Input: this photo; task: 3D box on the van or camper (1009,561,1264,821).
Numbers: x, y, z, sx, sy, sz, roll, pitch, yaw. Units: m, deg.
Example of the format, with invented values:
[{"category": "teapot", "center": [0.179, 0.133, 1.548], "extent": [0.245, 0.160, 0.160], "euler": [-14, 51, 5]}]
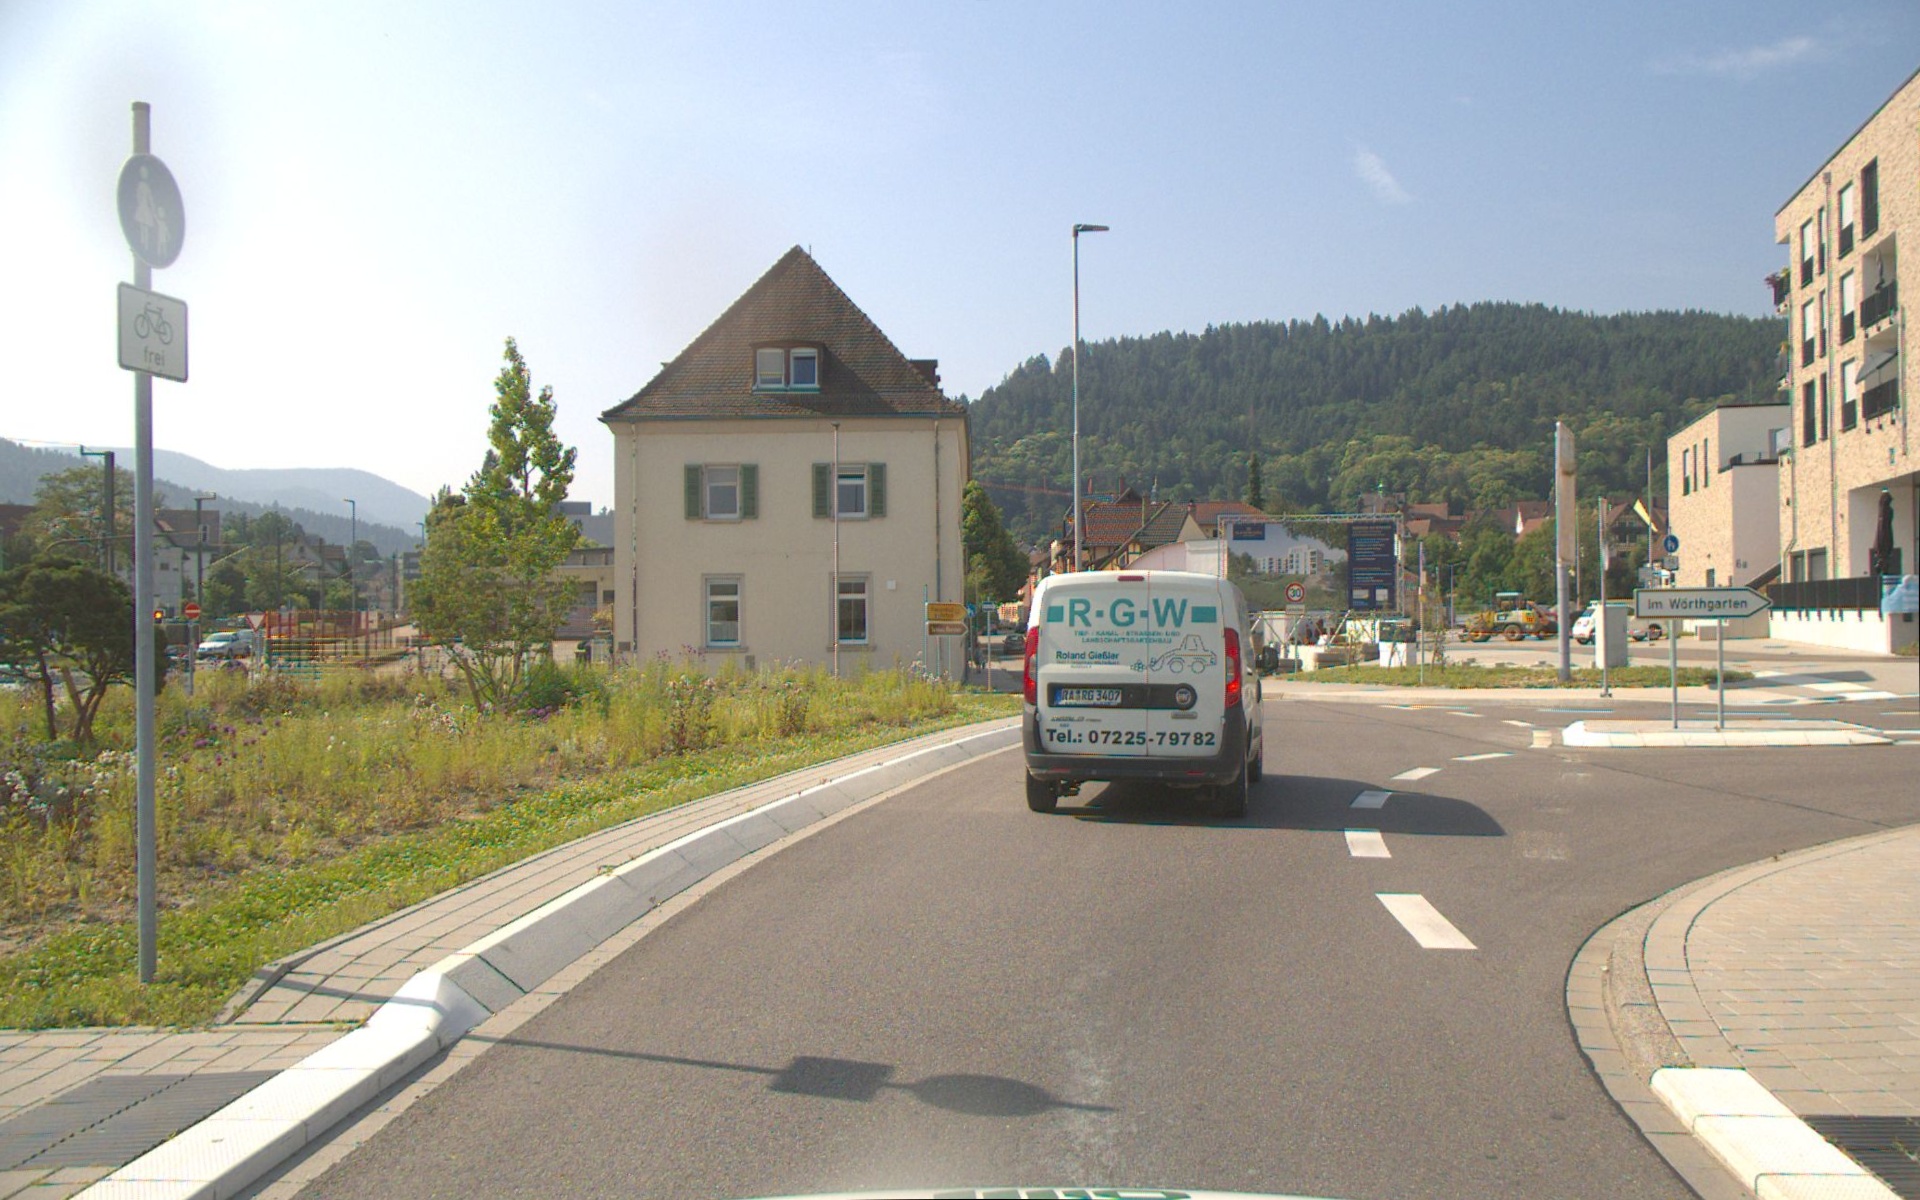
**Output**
[{"category": "van or camper", "center": [1.656, 0.708, 14.182], "extent": [1.789, 1.877, 4.191], "euler": [-1, -1, 11]}]

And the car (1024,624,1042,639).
[{"category": "car", "center": [7.864, 3.395, 178.035], "extent": [1.636, 1.534, 3.998], "euler": [-1, -1, -2]}]

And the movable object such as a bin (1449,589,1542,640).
[{"category": "movable object such as a bin", "center": [29.307, 0.810, 90.519], "extent": [4.521, 2.614, 1.923], "euler": [-3, -2, 26]}]

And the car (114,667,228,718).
[{"category": "car", "center": [-26.315, 3.051, 55.121], "extent": [3.919, 1.422, 1.708], "euler": [2, 0, 35]}]

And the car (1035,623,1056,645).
[{"category": "car", "center": [8.344, 3.293, 161.728], "extent": [1.833, 2.049, 3.999], "euler": [0, -1, 0]}]

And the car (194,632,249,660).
[{"category": "car", "center": [-40.605, 2.514, 91.014], "extent": [1.677, 1.422, 3.993], "euler": [1, 0, -8]}]

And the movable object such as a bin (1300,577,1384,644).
[{"category": "movable object such as a bin", "center": [22.147, 0.607, 95.675], "extent": [2.801, 3.685, 5.716], "euler": [1, 0, 35]}]

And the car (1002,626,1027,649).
[{"category": "car", "center": [4.303, 2.947, 130.807], "extent": [1.774, 1.624, 3.926], "euler": [1, 0, -1]}]

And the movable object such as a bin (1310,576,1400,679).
[{"category": "movable object such as a bin", "center": [16.101, 1.160, 67.833], "extent": [2.247, 3.922, 7.801], "euler": [1, -1, 4]}]

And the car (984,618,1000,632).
[{"category": "car", "center": [3.938, 3.127, 206.202], "extent": [1.774, 1.624, 3.925], "euler": [1, 0, -2]}]

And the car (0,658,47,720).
[{"category": "car", "center": [-25.563, 2.380, 44.466], "extent": [1.651, 1.558, 3.963], "euler": [-1, -1, -28]}]

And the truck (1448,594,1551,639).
[{"category": "truck", "center": [30.615, 0.943, 93.843], "extent": [5.210, 2.305, 2.217], "euler": [-3, -2, 26]}]

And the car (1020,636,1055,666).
[{"category": "car", "center": [4.612, 3.021, 98.568], "extent": [1.774, 1.624, 3.926], "euler": [1, 0, -1]}]

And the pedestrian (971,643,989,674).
[{"category": "pedestrian", "center": [1.067, 3.132, 89.039], "extent": [0.938, 1.660, 0.758], "euler": [0, -2, 0]}]
